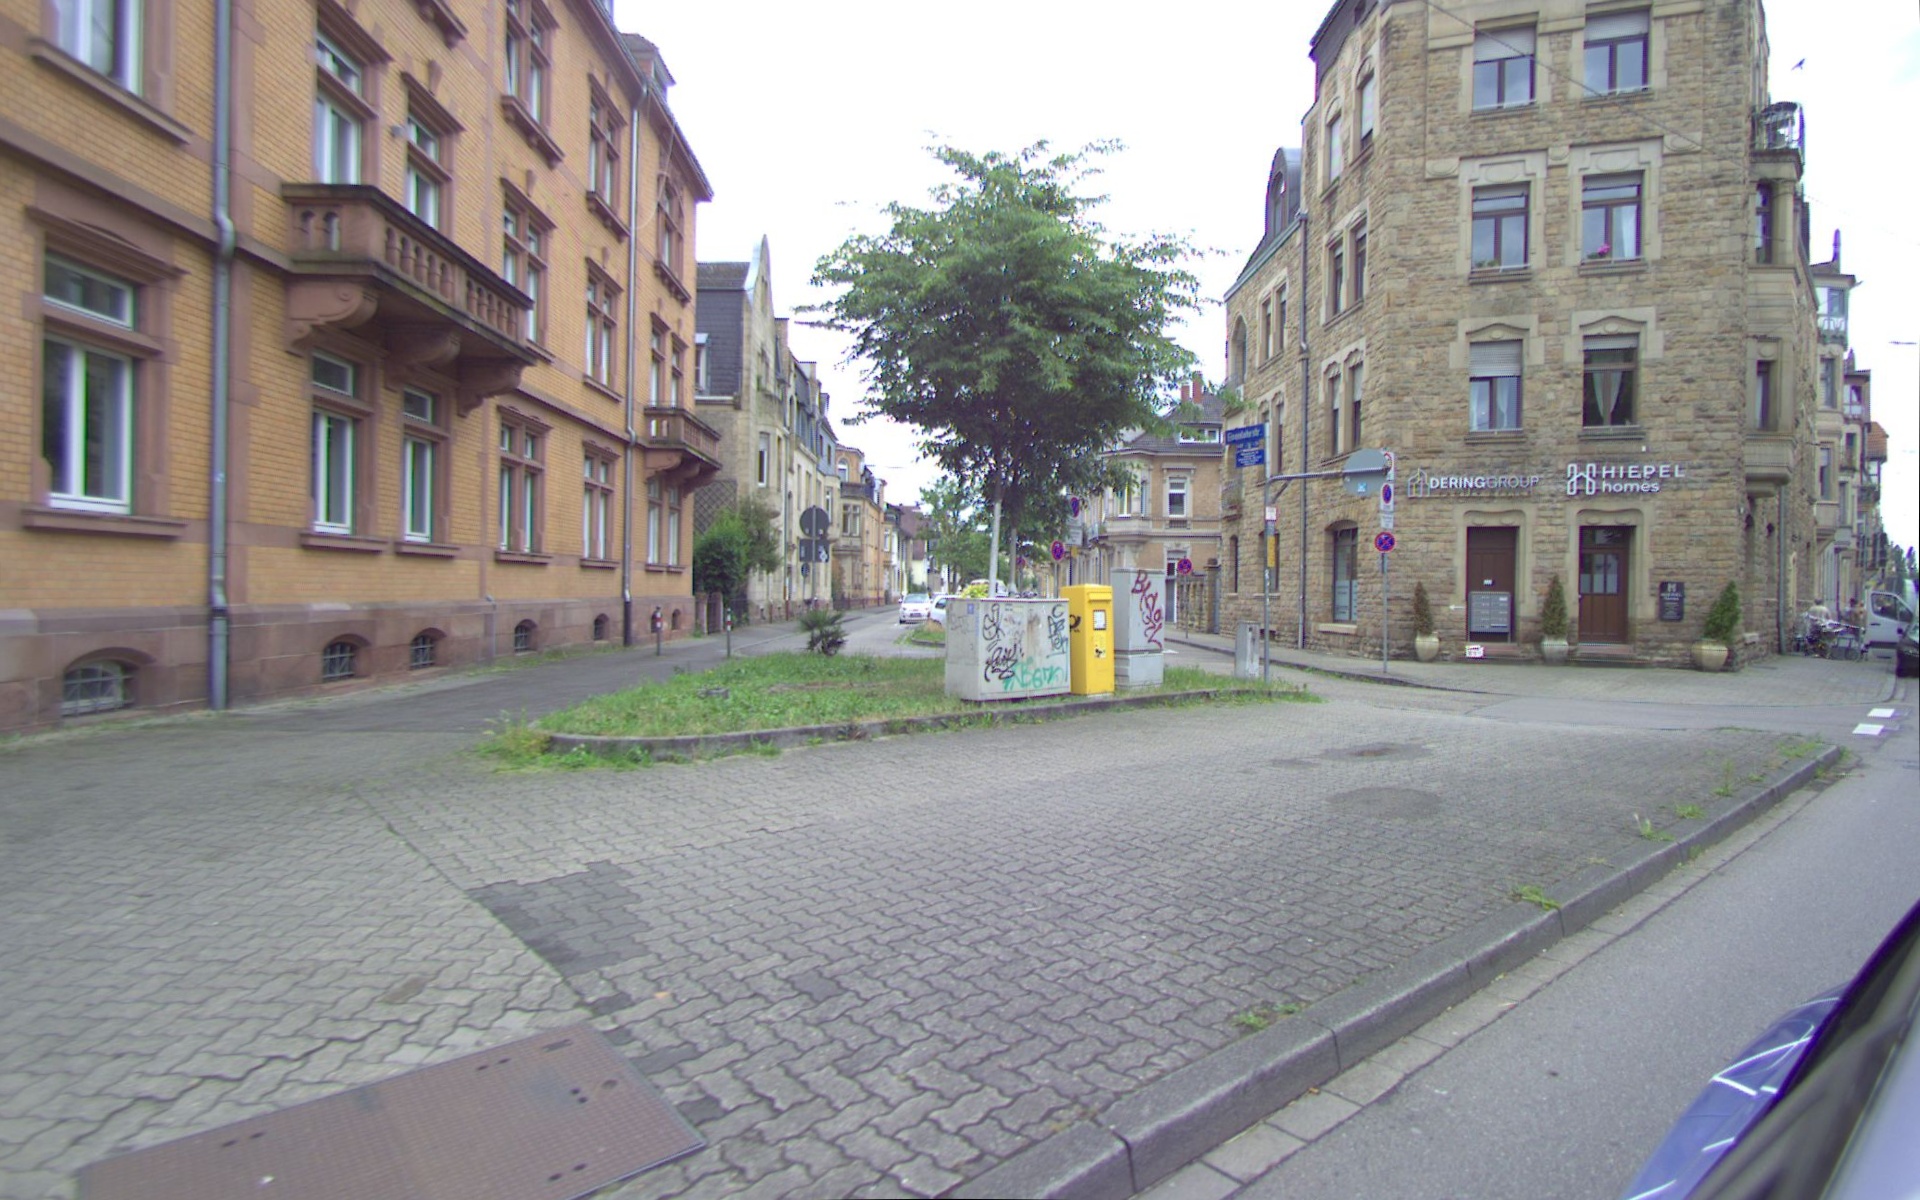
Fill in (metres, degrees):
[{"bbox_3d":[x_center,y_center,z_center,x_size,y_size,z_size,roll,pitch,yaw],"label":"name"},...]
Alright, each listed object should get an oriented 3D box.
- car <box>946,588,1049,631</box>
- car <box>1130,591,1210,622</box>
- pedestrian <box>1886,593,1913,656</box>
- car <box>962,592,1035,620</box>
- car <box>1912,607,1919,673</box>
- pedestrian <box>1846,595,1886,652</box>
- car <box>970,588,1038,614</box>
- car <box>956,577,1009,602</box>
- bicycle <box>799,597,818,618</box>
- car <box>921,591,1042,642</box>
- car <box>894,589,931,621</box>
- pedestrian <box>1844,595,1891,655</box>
[{"bbox_3d":[1.403,0.325,37.997,3.521,1.451,1.686,3,1,36],"label":"car"},{"bbox_3d":[11.215,0.328,54.308,3.971,1.451,1.753,2,1,5],"label":"car"},{"bbox_3d":[28.149,0.712,30.313,0.790,1.837,0.499,1,2,-45],"label":"pedestrian"},{"bbox_3d":[2.282,0.343,60.610,4.023,1.529,1.861,3,1,38],"label":"car"},{"bbox_3d":[23.918,0.908,23.986,1.824,1.468,4.925,-1,-1,45],"label":"car"},{"bbox_3d":[28.099,0.714,31.395,0.695,1.721,0.490,3,1,17],"label":"pedestrian"},{"bbox_3d":[2.775,0.059,64.297,4.022,1.529,1.861,1,1,38],"label":"car"},{"bbox_3d":[2.329,-1.159,105.772,5.297,2.534,2.316,1,1,38],"label":"car"},{"bbox_3d":[-7.457,0.375,49.784,0.558,1.015,1.777,1,0,4],"label":"bicycle"},{"bbox_3d":[0.682,0.495,32.423,3.517,1.451,1.687,2,1,33],"label":"car"},{"bbox_3d":[-2.371,0.239,50.983,1.722,1.451,4.045,2,1,-1],"label":"car"},{"bbox_3d":[26.800,0.728,29.908,0.858,1.721,0.532,3,1,30],"label":"pedestrian"}]
